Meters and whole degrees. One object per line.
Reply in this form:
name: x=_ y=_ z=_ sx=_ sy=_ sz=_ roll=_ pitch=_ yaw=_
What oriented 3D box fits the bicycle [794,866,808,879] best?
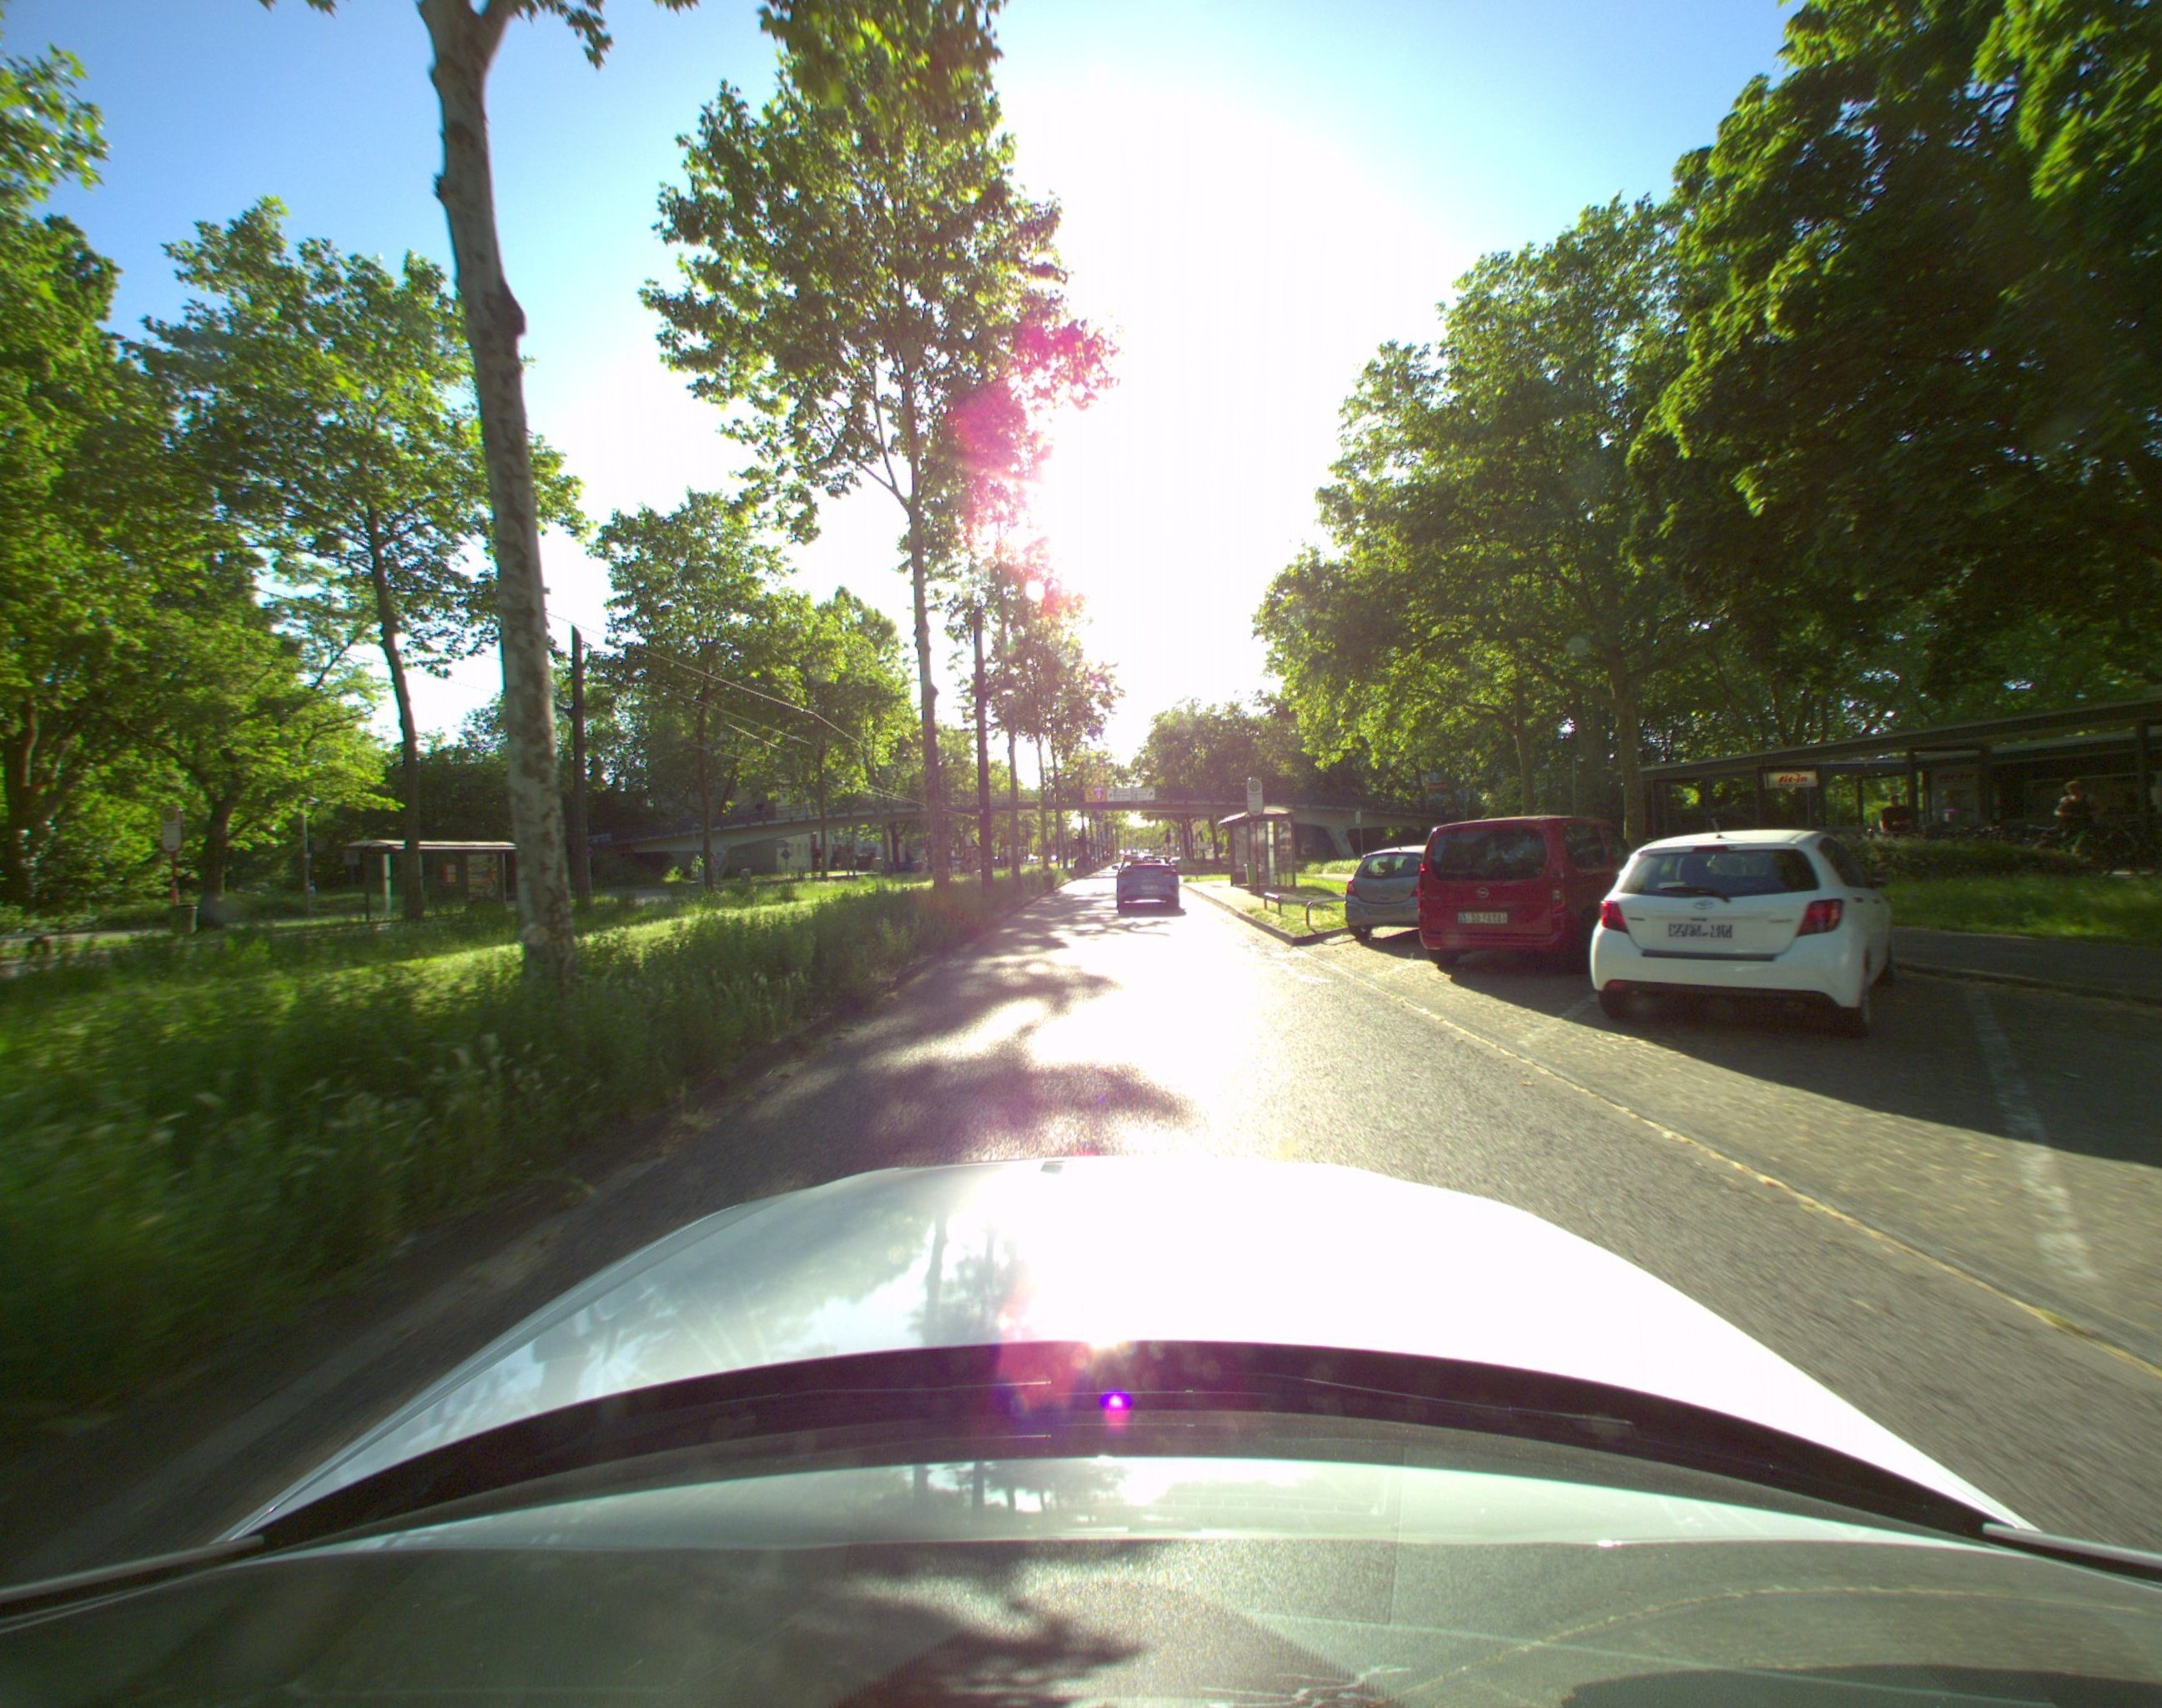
bicycle: x=-22.226 y=1.472 z=64.716 sx=0.432 sy=1.009 sz=1.688 roll=-1 pitch=0 yaw=3

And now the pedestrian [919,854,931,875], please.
pedestrian: x=-12.890 y=0.885 z=67.238 sx=0.722 sy=1.674 sz=1.048 roll=-1 pitch=-1 yaw=0

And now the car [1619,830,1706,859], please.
car: x=32.703 y=-0.564 z=45.818 sx=3.970 sy=1.495 sz=1.664 roll=-2 pitch=2 yaw=-8

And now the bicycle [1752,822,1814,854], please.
bicycle: x=27.128 y=-0.618 z=31.462 sx=1.797 sy=1.115 sz=0.709 roll=-3 pitch=-2 yaw=-5

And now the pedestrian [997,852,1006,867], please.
pedestrian: x=-8.890 y=0.603 z=90.886 sx=0.707 sy=1.634 sz=0.735 roll=-3 pitch=-1 yaw=19

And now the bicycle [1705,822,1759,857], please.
bicycle: x=23.815 y=-0.515 z=29.817 sx=0.573 sy=1.253 sz=1.807 roll=-1 pitch=0 yaw=2

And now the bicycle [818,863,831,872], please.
bicycle: x=-30.865 y=1.619 z=97.966 sx=0.693 sy=0.928 sz=2.596 roll=-1 pitch=1 yaw=0

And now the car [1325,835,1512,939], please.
car: x=6.015 y=0.504 z=14.297 sx=3.851 sy=1.472 sz=1.500 roll=-4 pitch=0 yaw=-43

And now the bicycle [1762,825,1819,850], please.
bicycle: x=32.396 y=-0.737 z=37.220 sx=0.503 sy=0.960 sz=2.193 roll=-3 pitch=-3 yaw=-3

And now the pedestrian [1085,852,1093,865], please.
pedestrian: x=0.830 y=0.458 z=83.774 sx=0.732 sy=1.252 sz=0.587 roll=0 pitch=-1 yaw=-2

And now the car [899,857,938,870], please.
car: x=-19.273 y=1.132 z=96.502 sx=4.218 sy=1.428 sz=1.682 roll=-1 pitch=1 yaw=-35

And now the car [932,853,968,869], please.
car: x=-18.086 y=0.978 z=112.358 sx=4.519 sy=2.063 sz=1.880 roll=-1 pitch=1 yaw=-35

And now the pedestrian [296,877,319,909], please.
pedestrian: x=-36.880 y=1.838 z=38.838 sx=0.532 sy=1.491 sz=0.586 roll=-1 pitch=-1 yaw=-4

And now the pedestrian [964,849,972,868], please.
pedestrian: x=-10.629 y=0.462 z=76.479 sx=0.506 sy=1.770 sz=0.478 roll=0 pitch=-1 yaw=-37

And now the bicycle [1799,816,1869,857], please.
bicycle: x=23.832 y=-0.540 z=25.817 sx=0.573 sy=1.253 sz=1.807 roll=-1 pitch=0 yaw=2

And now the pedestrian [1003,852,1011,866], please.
pedestrian: x=-8.166 y=0.578 z=89.738 sx=0.677 sy=1.514 sz=0.647 roll=-4 pitch=-1 yaw=15

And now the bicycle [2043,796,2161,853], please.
bicycle: x=24.035 y=-0.662 z=19.216 sx=0.573 sy=1.253 sz=1.807 roll=-1 pitch=0 yaw=2

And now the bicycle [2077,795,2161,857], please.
bicycle: x=22.397 y=-0.578 z=17.177 sx=0.573 sy=1.253 sz=1.807 roll=-1 pitch=0 yaw=2

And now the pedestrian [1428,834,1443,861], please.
pedestrian: x=24.268 y=-0.443 z=55.766 sx=0.657 sy=1.777 sz=0.738 roll=-2 pitch=1 yaw=-6

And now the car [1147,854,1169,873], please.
car: x=7.605 y=0.936 z=80.924 sx=1.973 sy=1.792 sz=4.618 roll=-2 pitch=0 yaw=4

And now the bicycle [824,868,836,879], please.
bicycle: x=-19.567 y=1.535 z=63.494 sx=0.432 sy=0.778 sz=1.175 roll=-1 pitch=0 yaw=3

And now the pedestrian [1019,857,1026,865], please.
pedestrian: x=-8.109 y=0.972 z=112.991 sx=0.691 sy=1.127 sz=0.663 roll=-5 pitch=-1 yaw=4

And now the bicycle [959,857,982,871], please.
bicycle: x=-9.025 y=0.819 z=66.483 sx=1.827 sy=1.147 sz=0.814 roll=0 pitch=1 yaw=-4

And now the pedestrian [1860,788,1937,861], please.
pedestrian: x=20.024 y=-0.714 z=19.960 sx=1.126 sy=1.708 sz=0.731 roll=-2 pitch=0 yaw=-6

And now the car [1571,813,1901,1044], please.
car: x=5.970 y=0.471 z=7.271 sx=3.647 sy=1.495 sz=1.662 roll=-4 pitch=0 yaw=-42

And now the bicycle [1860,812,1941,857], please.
bicycle: x=23.839 y=-0.553 z=23.739 sx=0.573 sy=1.253 sz=1.807 roll=-1 pitch=0 yaw=2

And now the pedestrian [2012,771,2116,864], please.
pedestrian: x=20.334 y=-0.739 z=16.861 sx=0.963 sy=1.840 sz=0.951 roll=-2 pitch=0 yaw=-6

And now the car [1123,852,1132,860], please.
car: x=9.150 y=0.371 z=158.757 sx=1.703 sy=1.603 sz=3.352 roll=-1 pitch=0 yaw=3

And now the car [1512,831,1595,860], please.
car: x=26.496 y=-0.489 z=45.719 sx=3.716 sy=1.495 sz=1.710 roll=-1 pitch=2 yaw=0

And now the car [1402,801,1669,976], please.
car: x=6.022 y=0.309 z=10.589 sx=3.973 sy=1.842 sz=1.747 roll=-4 pitch=0 yaw=-42

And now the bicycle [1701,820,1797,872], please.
bicycle: x=16.706 y=-0.195 z=20.367 sx=2.065 sy=1.158 sz=0.560 roll=-3 pitch=0 yaw=-8

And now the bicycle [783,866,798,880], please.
bicycle: x=-22.702 y=1.471 z=63.603 sx=0.432 sy=1.009 sz=1.688 roll=-1 pitch=0 yaw=3

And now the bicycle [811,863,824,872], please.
bicycle: x=-31.700 y=1.630 z=98.011 sx=0.693 sy=0.928 sz=2.596 roll=-1 pitch=1 yaw=0

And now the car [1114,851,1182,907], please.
car: x=1.898 y=0.670 z=24.201 sx=1.769 sy=1.483 sz=4.101 roll=-1 pitch=0 yaw=1

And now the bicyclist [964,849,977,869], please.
bicyclist: x=-9.018 y=0.411 z=66.475 sx=0.951 sy=1.632 sz=0.814 roll=0 pitch=1 yaw=-4

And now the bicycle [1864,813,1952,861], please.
bicycle: x=22.382 y=-0.432 z=22.093 sx=0.573 sy=1.253 sz=1.807 roll=-1 pitch=0 yaw=2

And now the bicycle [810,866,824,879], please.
bicycle: x=-20.825 y=1.451 z=64.169 sx=0.432 sy=1.009 sz=1.688 roll=-1 pitch=0 yaw=3
